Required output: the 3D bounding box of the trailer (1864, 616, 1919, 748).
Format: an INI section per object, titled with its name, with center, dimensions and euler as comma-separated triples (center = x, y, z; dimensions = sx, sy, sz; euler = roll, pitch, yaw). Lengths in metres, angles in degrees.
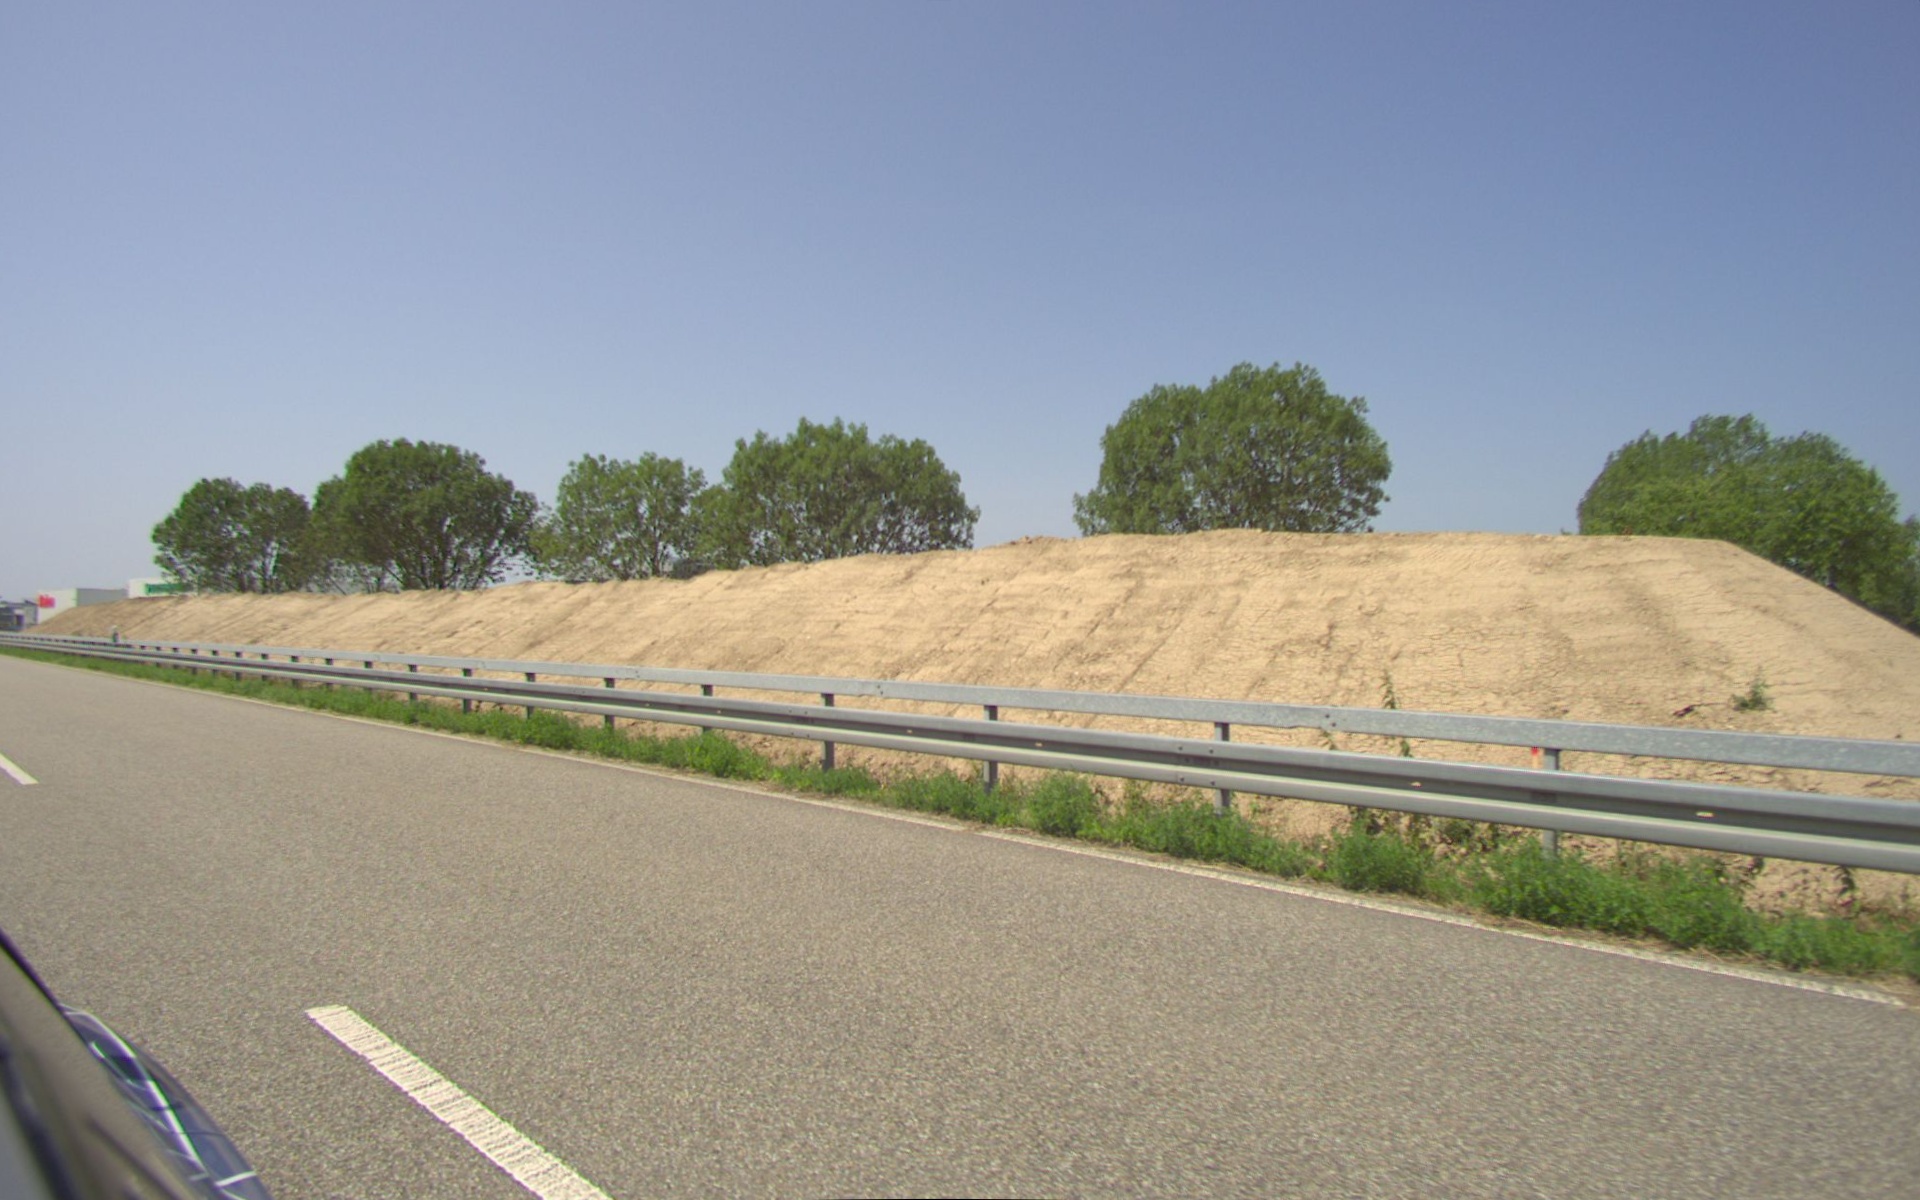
[trailer]
center = 27.171, 2.026, 23.719
dimensions = 8.811, 3.248, 2.411
euler = -1, -1, 45
